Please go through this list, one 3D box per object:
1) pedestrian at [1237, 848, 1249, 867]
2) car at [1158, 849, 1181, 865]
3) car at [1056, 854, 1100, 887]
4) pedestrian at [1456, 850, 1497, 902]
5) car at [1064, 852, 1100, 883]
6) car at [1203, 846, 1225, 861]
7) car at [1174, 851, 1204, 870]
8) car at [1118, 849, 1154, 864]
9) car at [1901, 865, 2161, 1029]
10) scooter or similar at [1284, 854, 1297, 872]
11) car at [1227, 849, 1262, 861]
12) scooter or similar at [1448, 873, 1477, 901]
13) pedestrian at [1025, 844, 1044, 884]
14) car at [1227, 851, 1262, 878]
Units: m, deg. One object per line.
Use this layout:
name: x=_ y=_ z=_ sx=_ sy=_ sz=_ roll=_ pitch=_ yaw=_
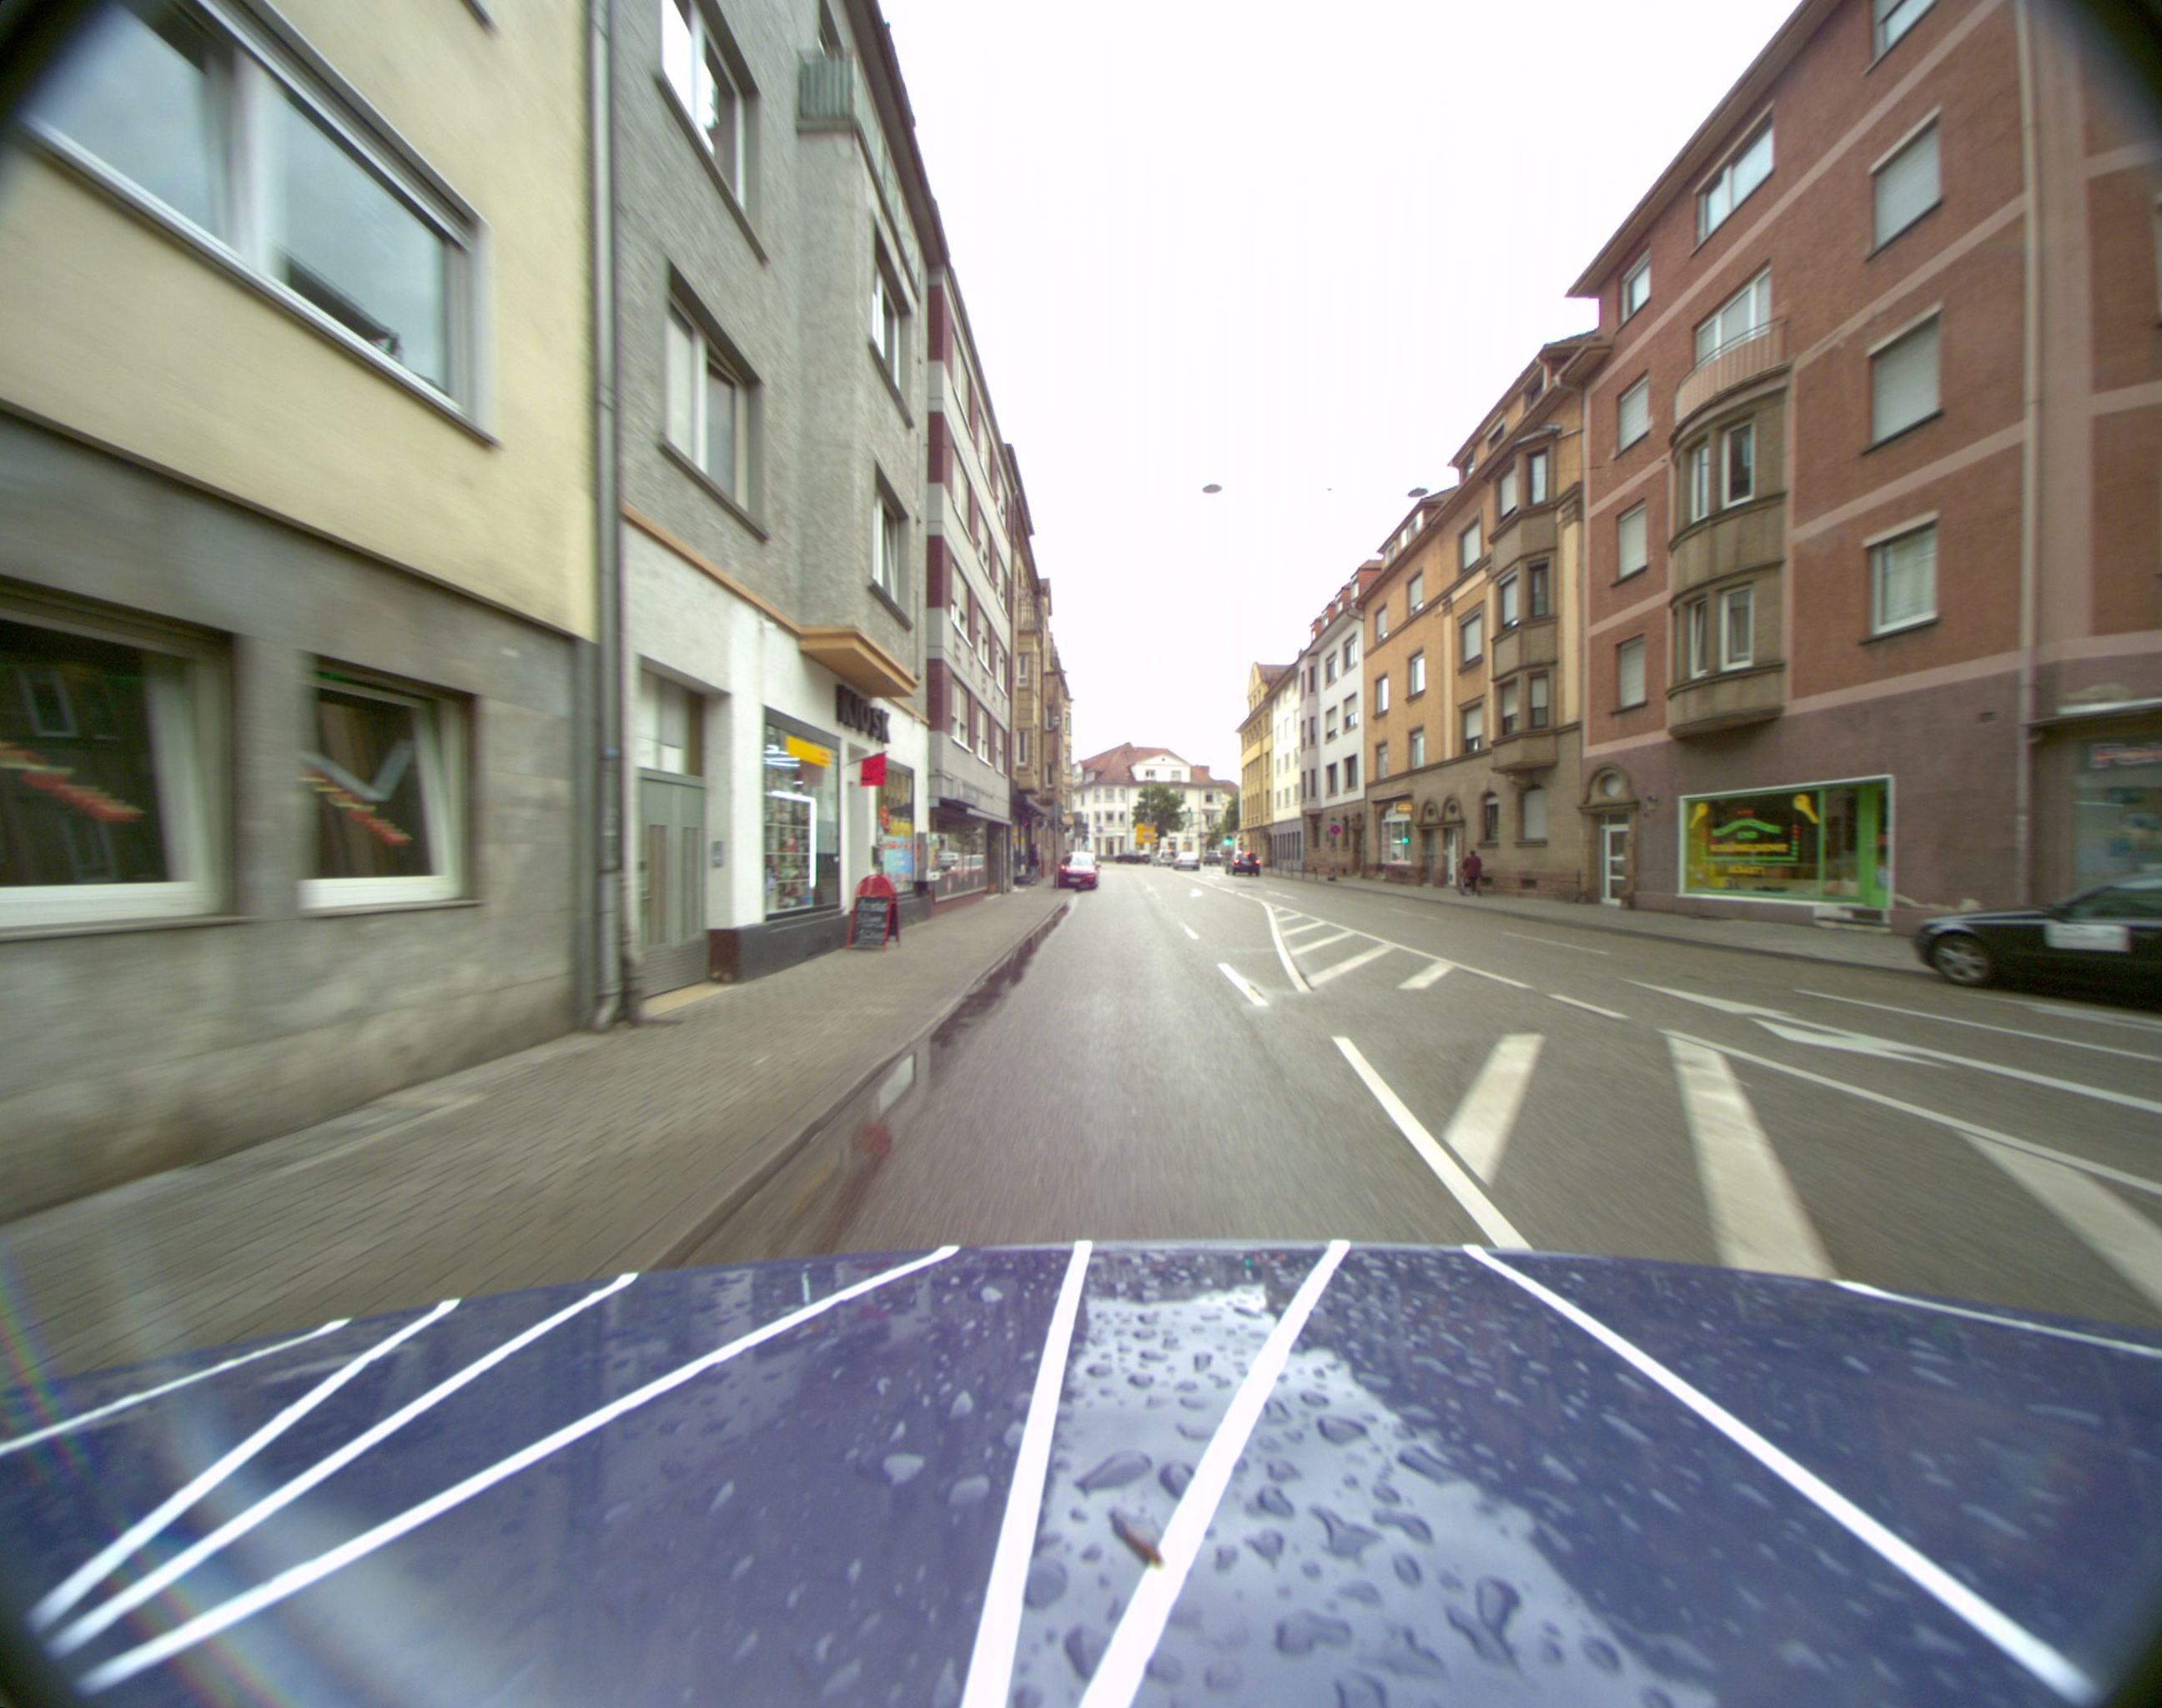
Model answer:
pedestrian: x=15.767 y=0.368 z=74.012 sx=0.895 sy=1.760 sz=1.032 roll=-4 pitch=1 yaw=1
car: x=8.765 y=0.284 z=75.618 sx=1.947 sy=1.574 sz=4.521 roll=0 pitch=1 yaw=3
car: x=-0.071 y=0.687 z=33.566 sx=1.748 sy=1.361 sz=4.315 roll=0 pitch=0 yaw=2
pedestrian: x=13.226 y=0.718 z=25.445 sx=0.845 sy=1.669 sz=0.852 roll=-3 pitch=2 yaw=-10
car: x=0.098 y=0.648 z=40.079 sx=1.651 sy=1.485 sz=4.448 roll=0 pitch=1 yaw=3
car: x=14.235 y=-0.081 z=81.463 sx=1.985 sy=1.586 sz=4.339 roll=0 pitch=1 yaw=5
car: x=8.852 y=0.547 z=62.624 sx=1.947 sy=1.462 sz=4.559 roll=0 pitch=1 yaw=2
car: x=6.103 y=0.295 z=85.523 sx=1.952 sy=1.574 sz=4.594 roll=0 pitch=1 yaw=-27
car: x=10.960 y=0.889 z=6.928 sx=1.854 sy=1.389 sz=4.793 roll=-3 pitch=0 yaw=2
scooter or similar: x=14.478 y=0.619 z=52.573 sx=0.462 sy=1.206 sz=1.578 roll=-4 pitch=1 yaw=1
car: x=21.286 y=0.130 z=99.055 sx=4.041 sy=1.509 sz=2.021 roll=0 pitch=1 yaw=-16
scooter or similar: x=13.088 y=1.125 z=26.086 sx=0.714 sy=0.920 sz=0.480 roll=-2 pitch=2 yaw=-10
pedestrian: x=-2.048 y=0.433 z=33.463 sx=0.746 sy=1.769 sz=0.795 roll=0 pitch=1 yaw=0
car: x=10.949 y=0.673 z=51.075 sx=1.758 sy=1.642 sz=4.308 roll=0 pitch=1 yaw=5
